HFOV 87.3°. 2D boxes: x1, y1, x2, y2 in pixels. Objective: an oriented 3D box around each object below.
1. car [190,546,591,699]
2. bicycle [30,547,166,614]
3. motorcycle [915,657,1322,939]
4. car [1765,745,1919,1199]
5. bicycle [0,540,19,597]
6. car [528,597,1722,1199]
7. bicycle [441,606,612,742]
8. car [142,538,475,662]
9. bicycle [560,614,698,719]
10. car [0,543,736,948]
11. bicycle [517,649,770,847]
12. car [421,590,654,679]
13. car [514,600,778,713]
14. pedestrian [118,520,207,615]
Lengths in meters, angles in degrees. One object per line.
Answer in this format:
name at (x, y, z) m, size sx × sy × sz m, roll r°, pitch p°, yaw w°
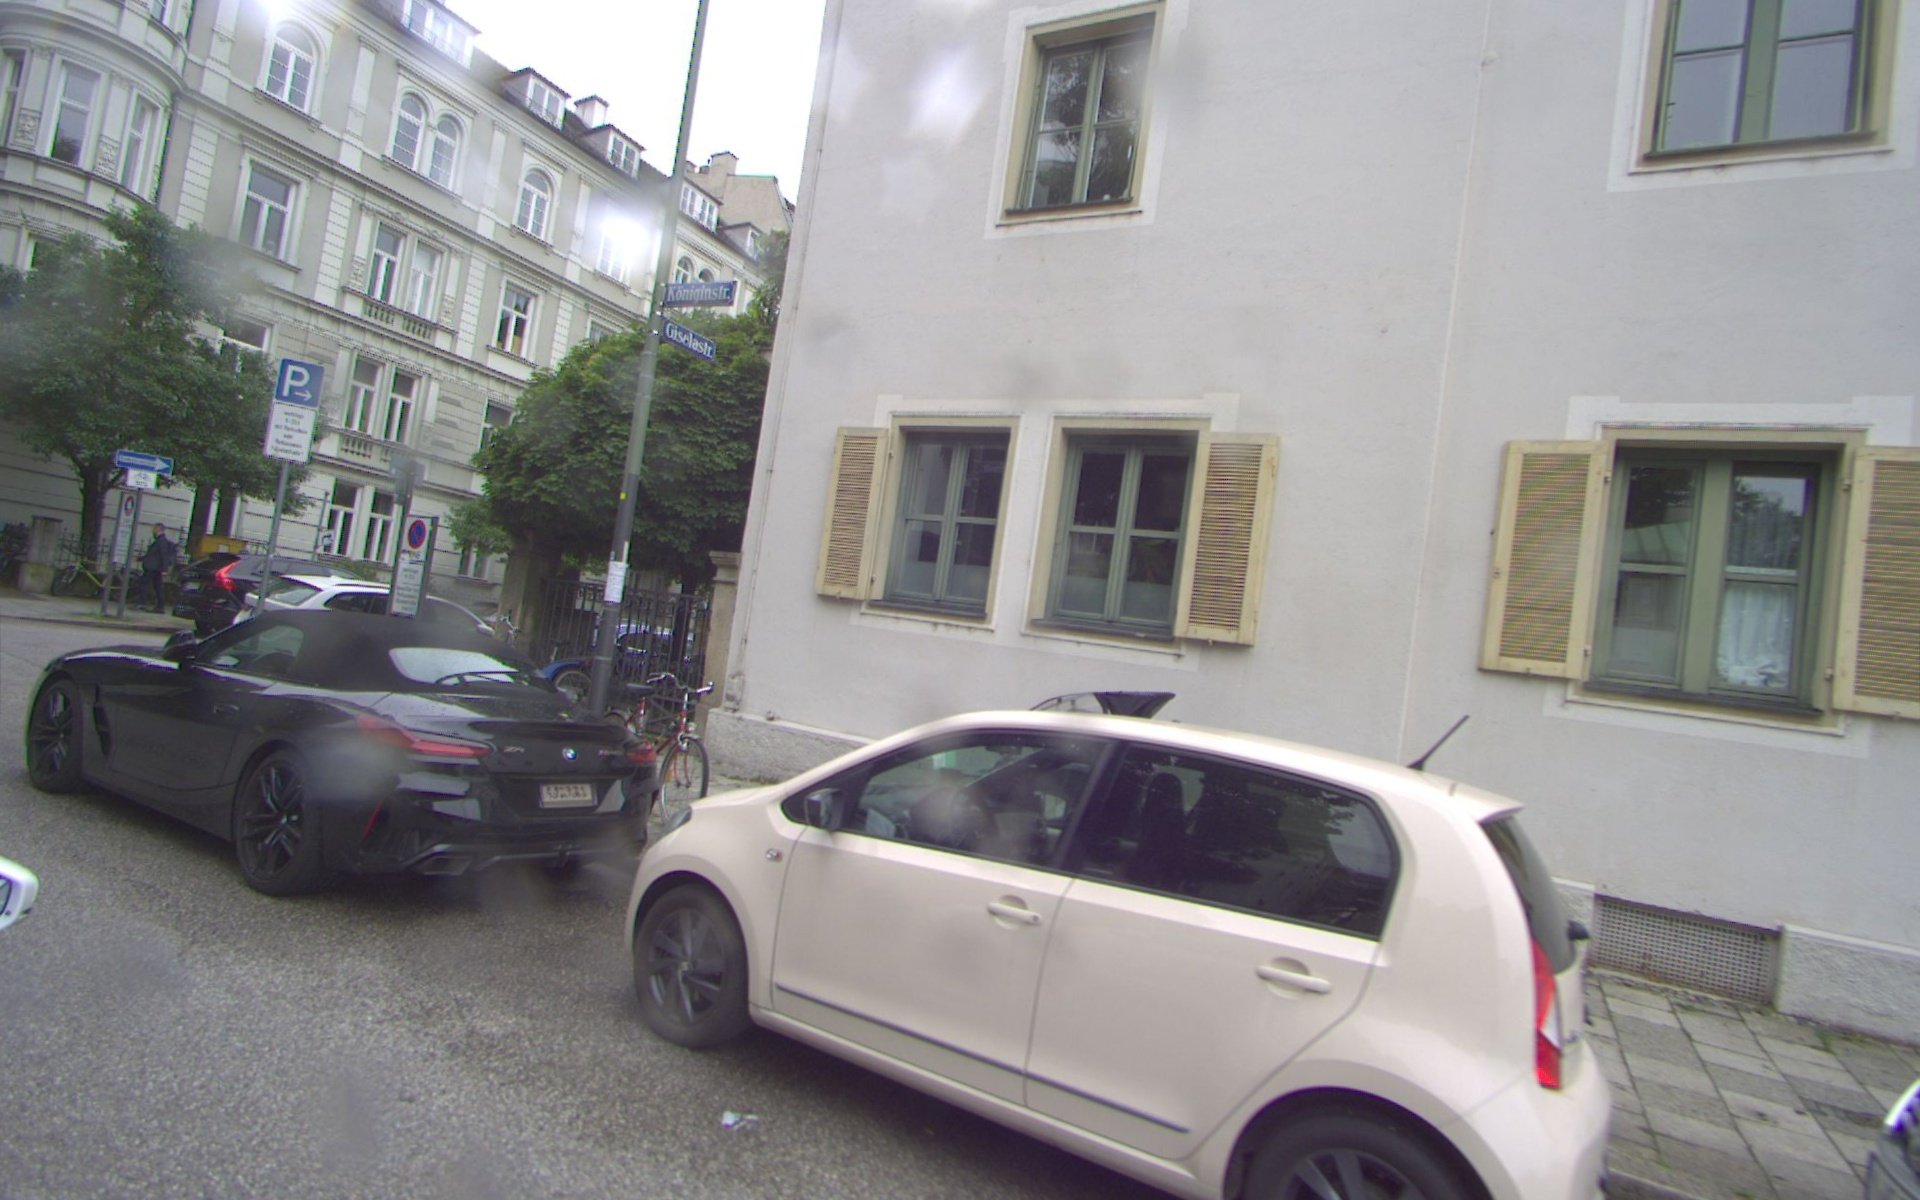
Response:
car at (-8.363, 0.469, 15.361) m, size 1.880 × 1.548 × 4.923 m, roll 10°, pitch -2°, yaw 29°
bicycle at (-17.532, -0.369, 20.518) m, size 0.548 × 1.039 × 1.927 m, roll 8°, pitch -3°, yaw 34°
motorcycle at (1.123, 1.348, 7.402) m, size 2.660 × 1.449 × 0.860 m, roll 7°, pitch -3°, yaw 28°
car at (4.311, 1.460, 1.508) m, size 4.457 × 1.723 × 2.002 m, roll 7°, pitch -6°, yaw 30°
bicycle at (-19.354, -0.698, 19.977) m, size 1.860 × 1.039 × 0.430 m, roll 8°, pitch -2°, yaw 34°
car at (0.418, 1.109, 3.830) m, size 3.650 × 1.559 × 1.780 m, roll 6°, pitch -8°, yaw 32°
bicycle at (-4.759, 0.800, 11.022) m, size 1.745 × 1.239 × 0.544 m, roll 6°, pitch -3°, yaw 24°
car at (-12.440, 0.108, 19.669) m, size 1.911 × 1.668 × 5.056 m, roll 3°, pitch -7°, yaw 29°
bicycle at (-4.650, 0.983, 14.287) m, size 0.459 × 1.289 × 1.921 m, roll 8°, pitch -4°, yaw 27°
car at (-3.805, 0.606, 6.049) m, size 4.517 × 1.334 × 2.004 m, roll 7°, pitch -2°, yaw 29°
bicycle at (-2.362, 1.034, 7.387) m, size 1.909 × 1.075 × 0.663 m, roll 6°, pitch -3°, yaw 37°
car at (-9.960, 0.914, 24.276) m, size 1.779 × 1.520 × 5.181 m, roll 4°, pitch -5°, yaw 26°
car at (-5.962, 1.210, 19.812) m, size 1.902 × 1.522 × 4.878 m, roll 8°, pitch -4°, yaw 28°
pedestrian at (-15.902, -0.634, 20.070) m, size 0.846 × 1.708 × 0.975 m, roll 7°, pitch -2°, yaw 31°
